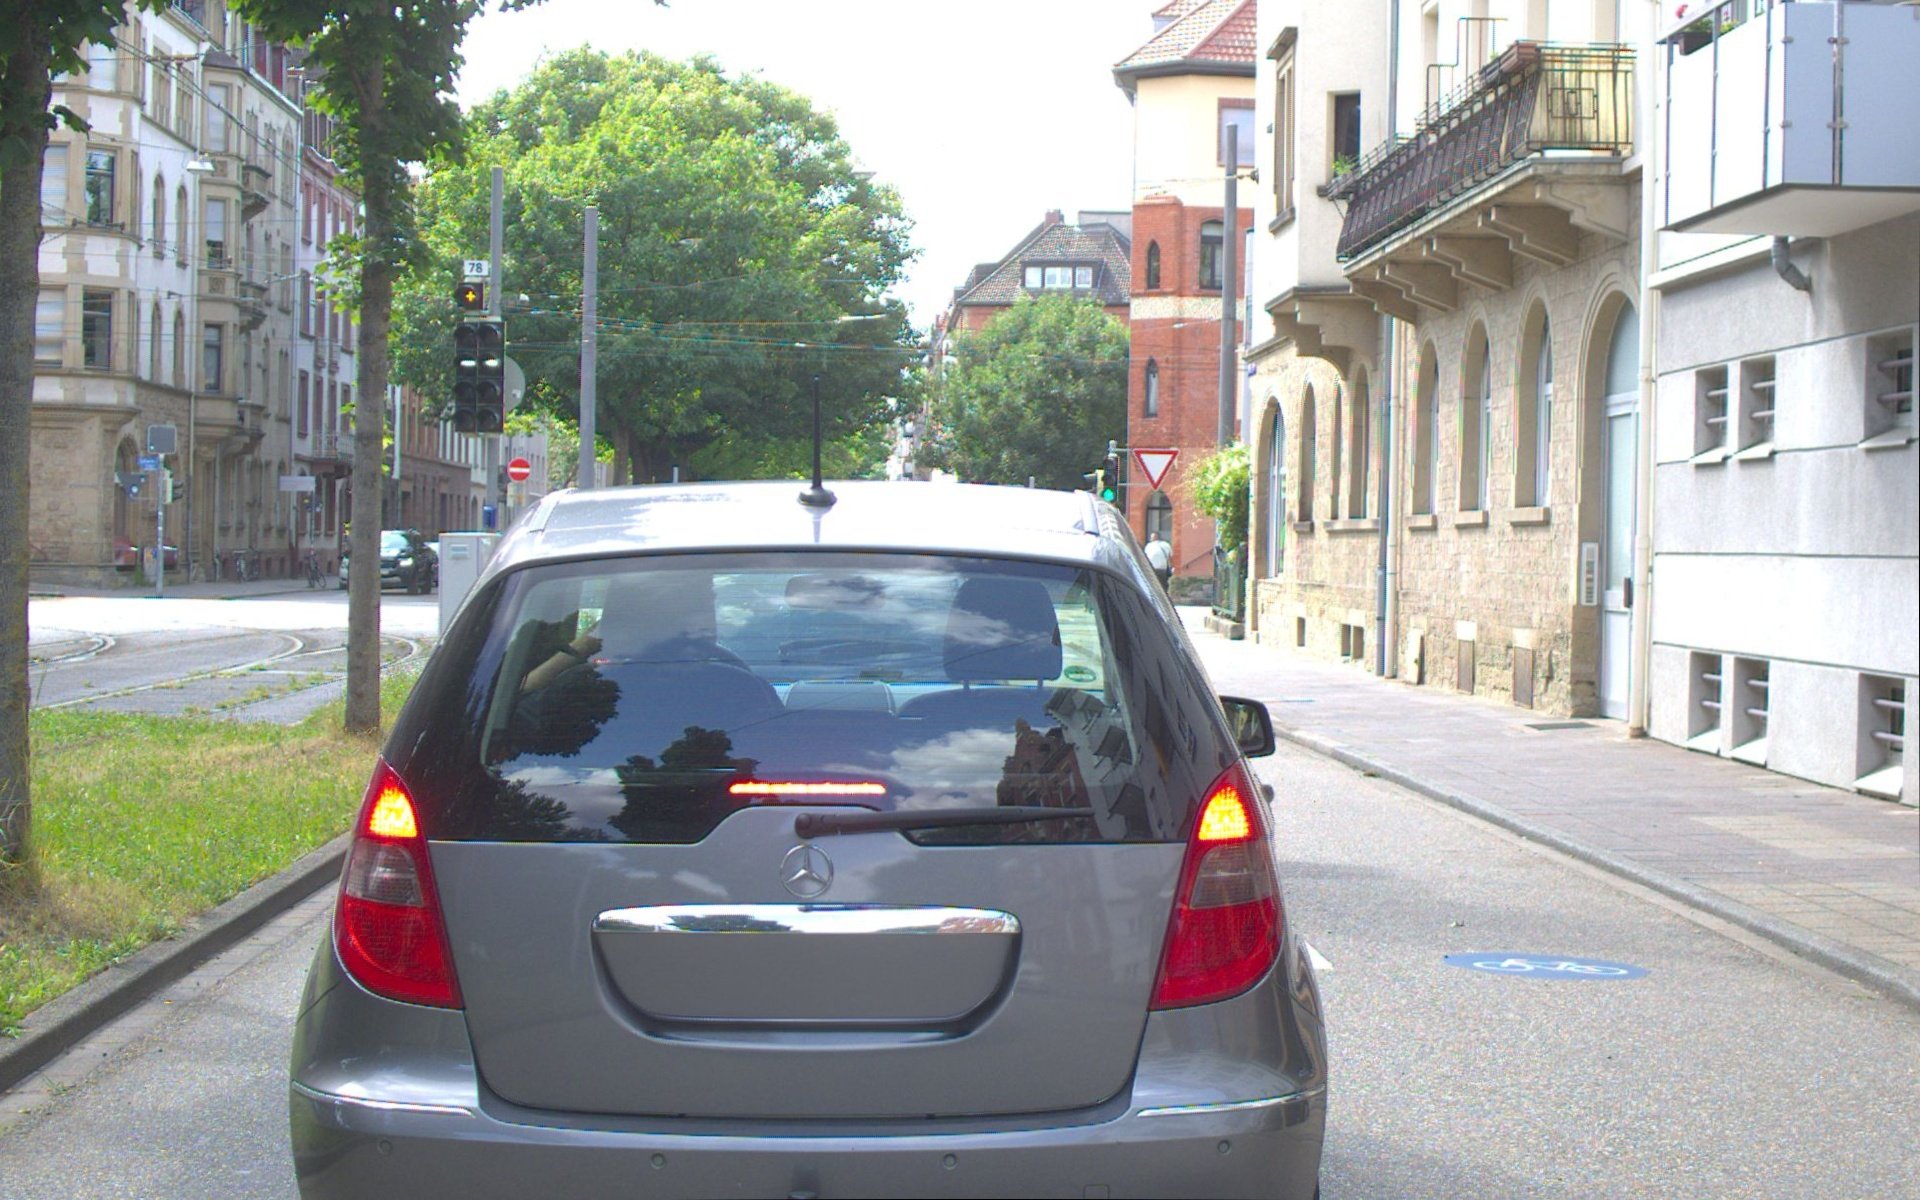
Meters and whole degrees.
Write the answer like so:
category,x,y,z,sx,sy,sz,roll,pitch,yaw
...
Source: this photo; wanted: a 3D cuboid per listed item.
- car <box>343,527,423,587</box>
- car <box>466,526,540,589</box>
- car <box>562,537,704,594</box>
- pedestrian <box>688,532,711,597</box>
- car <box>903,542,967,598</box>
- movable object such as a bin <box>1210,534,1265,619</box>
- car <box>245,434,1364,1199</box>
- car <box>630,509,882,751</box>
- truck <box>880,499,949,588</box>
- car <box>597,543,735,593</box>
category,x,y,z,sx,sy,sz,roll,pitch,yaw
car,-16.040,-1.208,95.698,1.993,1.612,4.001,0,1,-7
car,-12.916,-1.216,97.237,1.993,1.722,4.001,0,1,-7
car,-9.146,-0.965,95.959,1.969,1.489,3.999,1,1,-40
pedestrian,-6.953,-0.964,91.857,0.493,1.719,0.654,1,1,-12
car,-0.741,-0.915,103.983,1.752,1.627,3.499,1,1,2
movable object such as a bin,4.801,-0.413,59.593,0.714,1.467,0.983,0,1,-10
car,-0.262,0.526,7.166,1.722,1.600,3.677,1,1,-1
car,-1.486,0.186,26.173,1.722,1.700,3.677,1,1,-1
truck,-1.537,-1.922,116.934,2.123,2.960,4.000,1,1,2
car,-8.441,-0.920,98.589,1.969,1.334,3.999,1,1,-40
